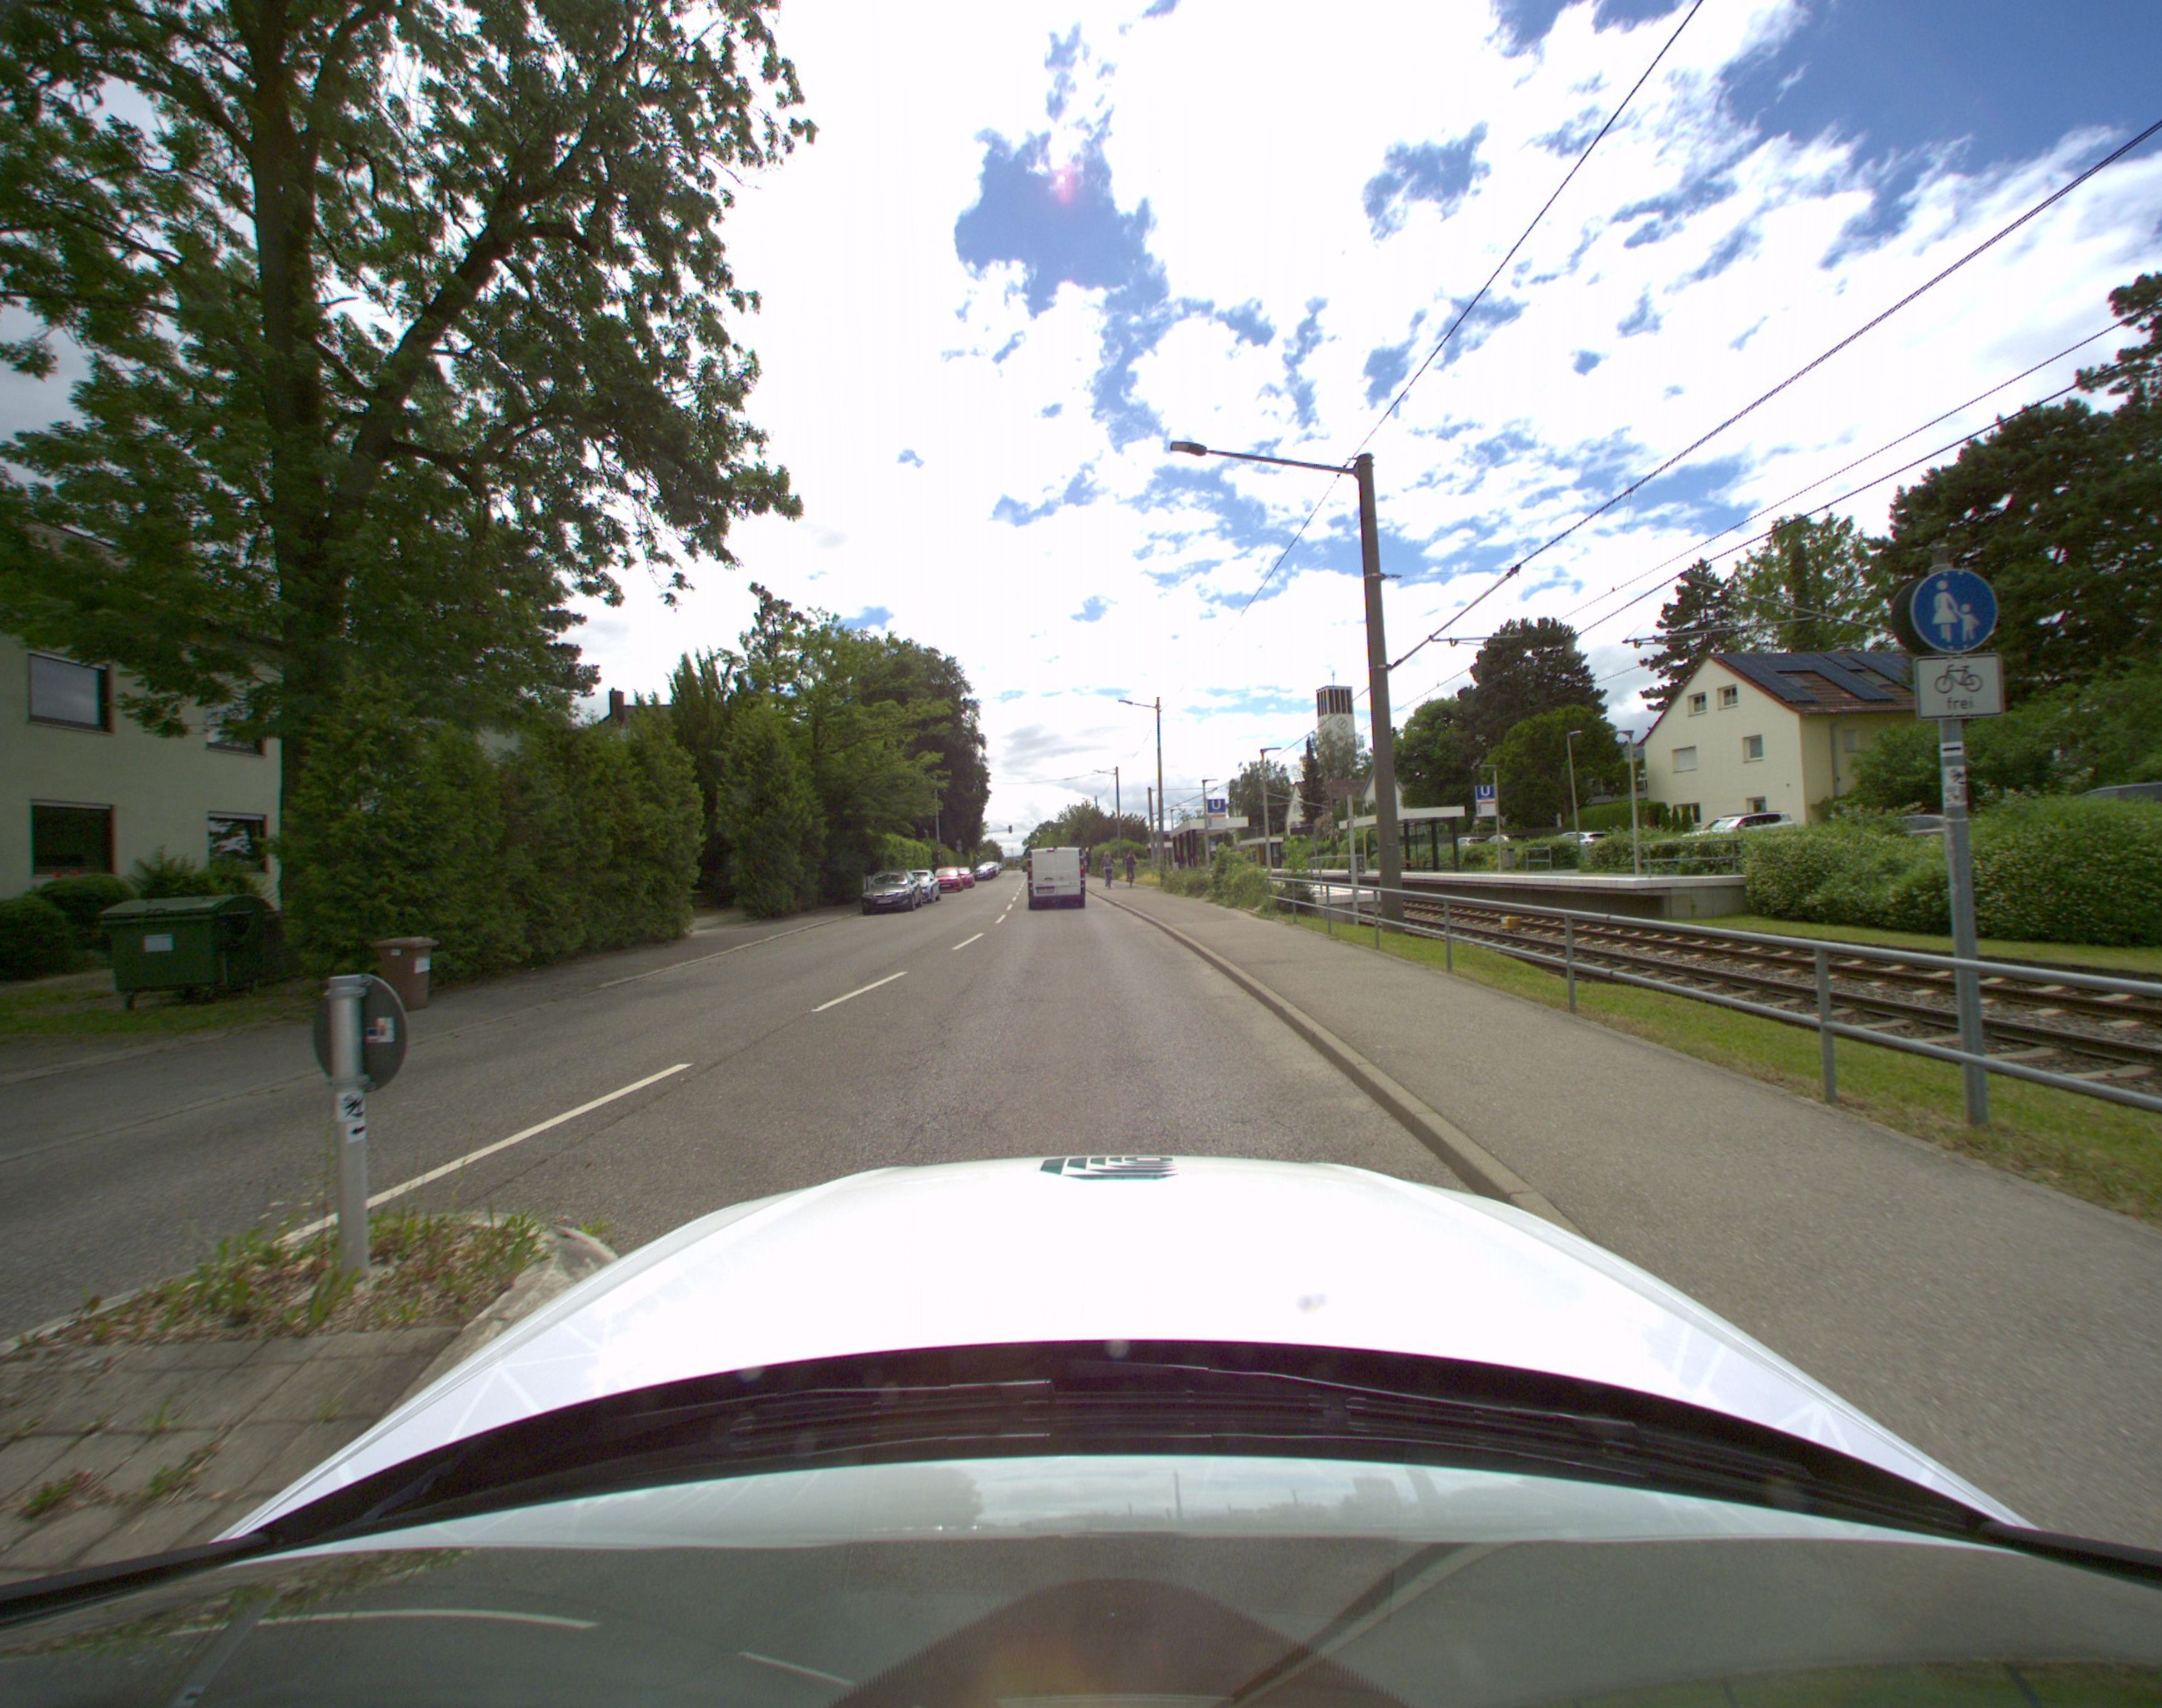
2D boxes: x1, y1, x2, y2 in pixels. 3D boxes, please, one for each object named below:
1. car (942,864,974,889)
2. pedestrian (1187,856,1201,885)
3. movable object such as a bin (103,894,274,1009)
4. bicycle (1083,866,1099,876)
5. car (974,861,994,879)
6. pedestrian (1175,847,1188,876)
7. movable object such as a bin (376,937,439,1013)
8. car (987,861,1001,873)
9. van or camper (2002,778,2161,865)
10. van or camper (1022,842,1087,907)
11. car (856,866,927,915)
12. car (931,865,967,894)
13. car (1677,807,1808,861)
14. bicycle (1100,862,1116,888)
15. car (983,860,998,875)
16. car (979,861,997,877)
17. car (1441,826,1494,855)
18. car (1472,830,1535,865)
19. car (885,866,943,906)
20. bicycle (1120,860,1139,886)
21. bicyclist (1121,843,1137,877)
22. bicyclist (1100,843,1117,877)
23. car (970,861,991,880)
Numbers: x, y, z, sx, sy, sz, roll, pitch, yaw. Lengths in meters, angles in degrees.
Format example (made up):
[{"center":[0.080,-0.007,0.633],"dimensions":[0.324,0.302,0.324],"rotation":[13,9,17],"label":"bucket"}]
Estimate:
[{"center":[-8.224,1.472,54.941],"dimensions":[1.759,1.471,4.178],"rotation":[-3,0,-5],"label":"car"},{"center":[5.339,0.766,38.434],"dimensions":[0.391,1.344,0.490],"rotation":[-2,0,42],"label":"pedestrian"},{"center":[-12.228,1.298,11.215],"dimensions":[1.275,1.401,0.894],"rotation":[-2,-1,-16],"label":"movable object such as a bin"},{"center":[1.070,1.898,89.659],"dimensions":[1.696,1.030,0.490],"rotation":[-2,-1,-5],"label":"bicycle"},{"center":[-9.804,1.597,82.325],"dimensions":[1.759,1.656,4.054],"rotation":[-3,0,-5],"label":"car"},{"center":[6.010,0.440,48.718],"dimensions":[0.633,1.725,0.657],"rotation":[-2,-1,15],"label":"pedestrian"},{"center":[-8.694,1.551,10.527],"dimensions":[0.463,0.930,0.428],"rotation":[1,-2,-15],"label":"movable object such as a bin"},{"center":[-12.634,1.851,118.534],"dimensions":[1.759,1.557,3.808],"rotation":[-3,0,-5],"label":"car"},{"center":[23.625,-0.718,17.570],"dimensions":[1.897,1.826,5.051],"rotation":[-2,-1,3],"label":"van or camper"},{"center":[-0.945,0.687,27.830],"dimensions":[1.989,2.014,4.440],"rotation":[-1,-1,-3],"label":"van or camper"},{"center":[-6.841,1.270,29.844],"dimensions":[1.734,1.505,4.470],"rotation":[-4,0,-4],"label":"car"},{"center":[-7.770,1.478,48.044],"dimensions":[1.585,1.505,3.511],"rotation":[-4,0,-2],"label":"car"},{"center":[28.965,-0.858,35.723],"dimensions":[4.320,1.943,1.744],"rotation":[-5,0,-4],"label":"car"},{"center":[1.339,1.014,40.379],"dimensions":[0.545,1.246,2.052],"rotation":[-2,0,-4],"label":"bicycle"},{"center":[-11.625,1.726,105.028],"dimensions":[1.759,1.756,3.808],"rotation":[-3,0,-5],"label":"car"},{"center":[-10.567,1.638,92.455],"dimensions":[1.759,1.656,3.808],"rotation":[-3,0,-5],"label":"car"},{"center":[24.980,-0.860,52.778],"dimensions":[1.725,1.751,3.938],"rotation":[-2,0,3],"label":"car"},{"center":[24.730,-0.353,47.828],"dimensions":[1.725,1.914,3.936],"rotation":[-1,-1,2],"label":"car"},{"center":[-7.161,1.331,35.327],"dimensions":[1.732,1.505,3.959],"rotation":[-4,0,-2],"label":"car"},{"center":[2.452,0.944,41.245],"dimensions":[0.617,1.246,2.392],"rotation":[-2,0,-4],"label":"bicycle"},{"center":[2.421,0.292,41.127],"dimensions":[0.638,1.650,0.818],"rotation":[-2,0,-4],"label":"bicyclist"},{"center":[1.355,0.285,40.102],"dimensions":[0.716,1.612,0.756],"rotation":[-2,0,-4],"label":"bicyclist"},{"center":[-9.387,1.530,76.253],"dimensions":[1.759,1.625,4.178],"rotation":[-3,0,-5],"label":"car"}]
